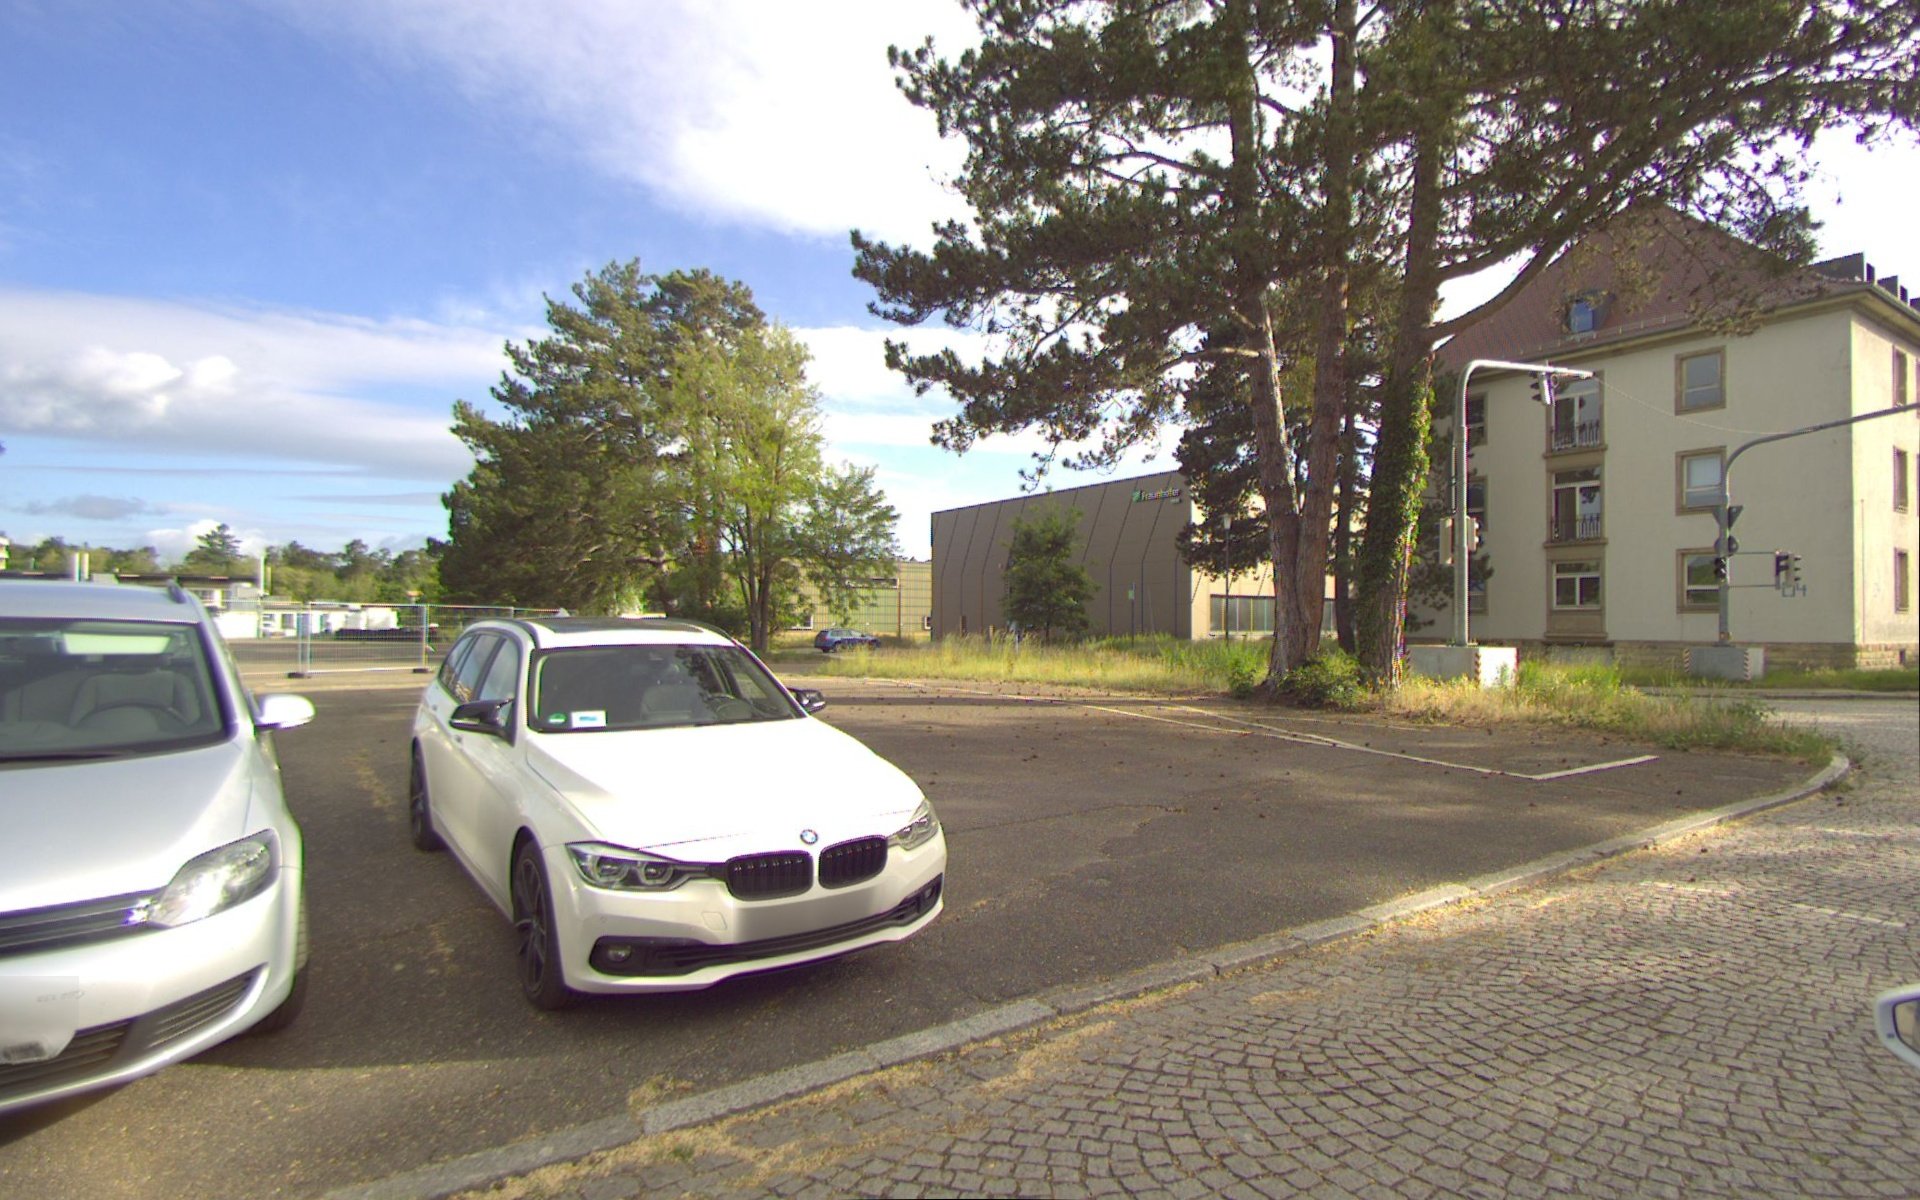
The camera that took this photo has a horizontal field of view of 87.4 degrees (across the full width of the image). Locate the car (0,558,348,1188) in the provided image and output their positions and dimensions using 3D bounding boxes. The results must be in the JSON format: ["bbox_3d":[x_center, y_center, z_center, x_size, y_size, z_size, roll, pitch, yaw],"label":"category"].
[{"bbox_3d":[-3.893,0.659,4.126,1.843,1.621,4.088,2,1,-38],"label":"car"}]

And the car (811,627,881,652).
[{"bbox_3d":[-7.303,2.536,64.543,4.119,1.580,1.790,2,-2,-38],"label":"car"}]

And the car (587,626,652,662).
[{"bbox_3d":[-14.278,1.800,42.042,1.648,1.400,3.964,2,-2,-33],"label":"car"}]

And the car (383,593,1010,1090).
[{"bbox_3d":[-1.885,0.772,5.648,1.885,1.475,4.554,0,2,-36],"label":"car"}]
